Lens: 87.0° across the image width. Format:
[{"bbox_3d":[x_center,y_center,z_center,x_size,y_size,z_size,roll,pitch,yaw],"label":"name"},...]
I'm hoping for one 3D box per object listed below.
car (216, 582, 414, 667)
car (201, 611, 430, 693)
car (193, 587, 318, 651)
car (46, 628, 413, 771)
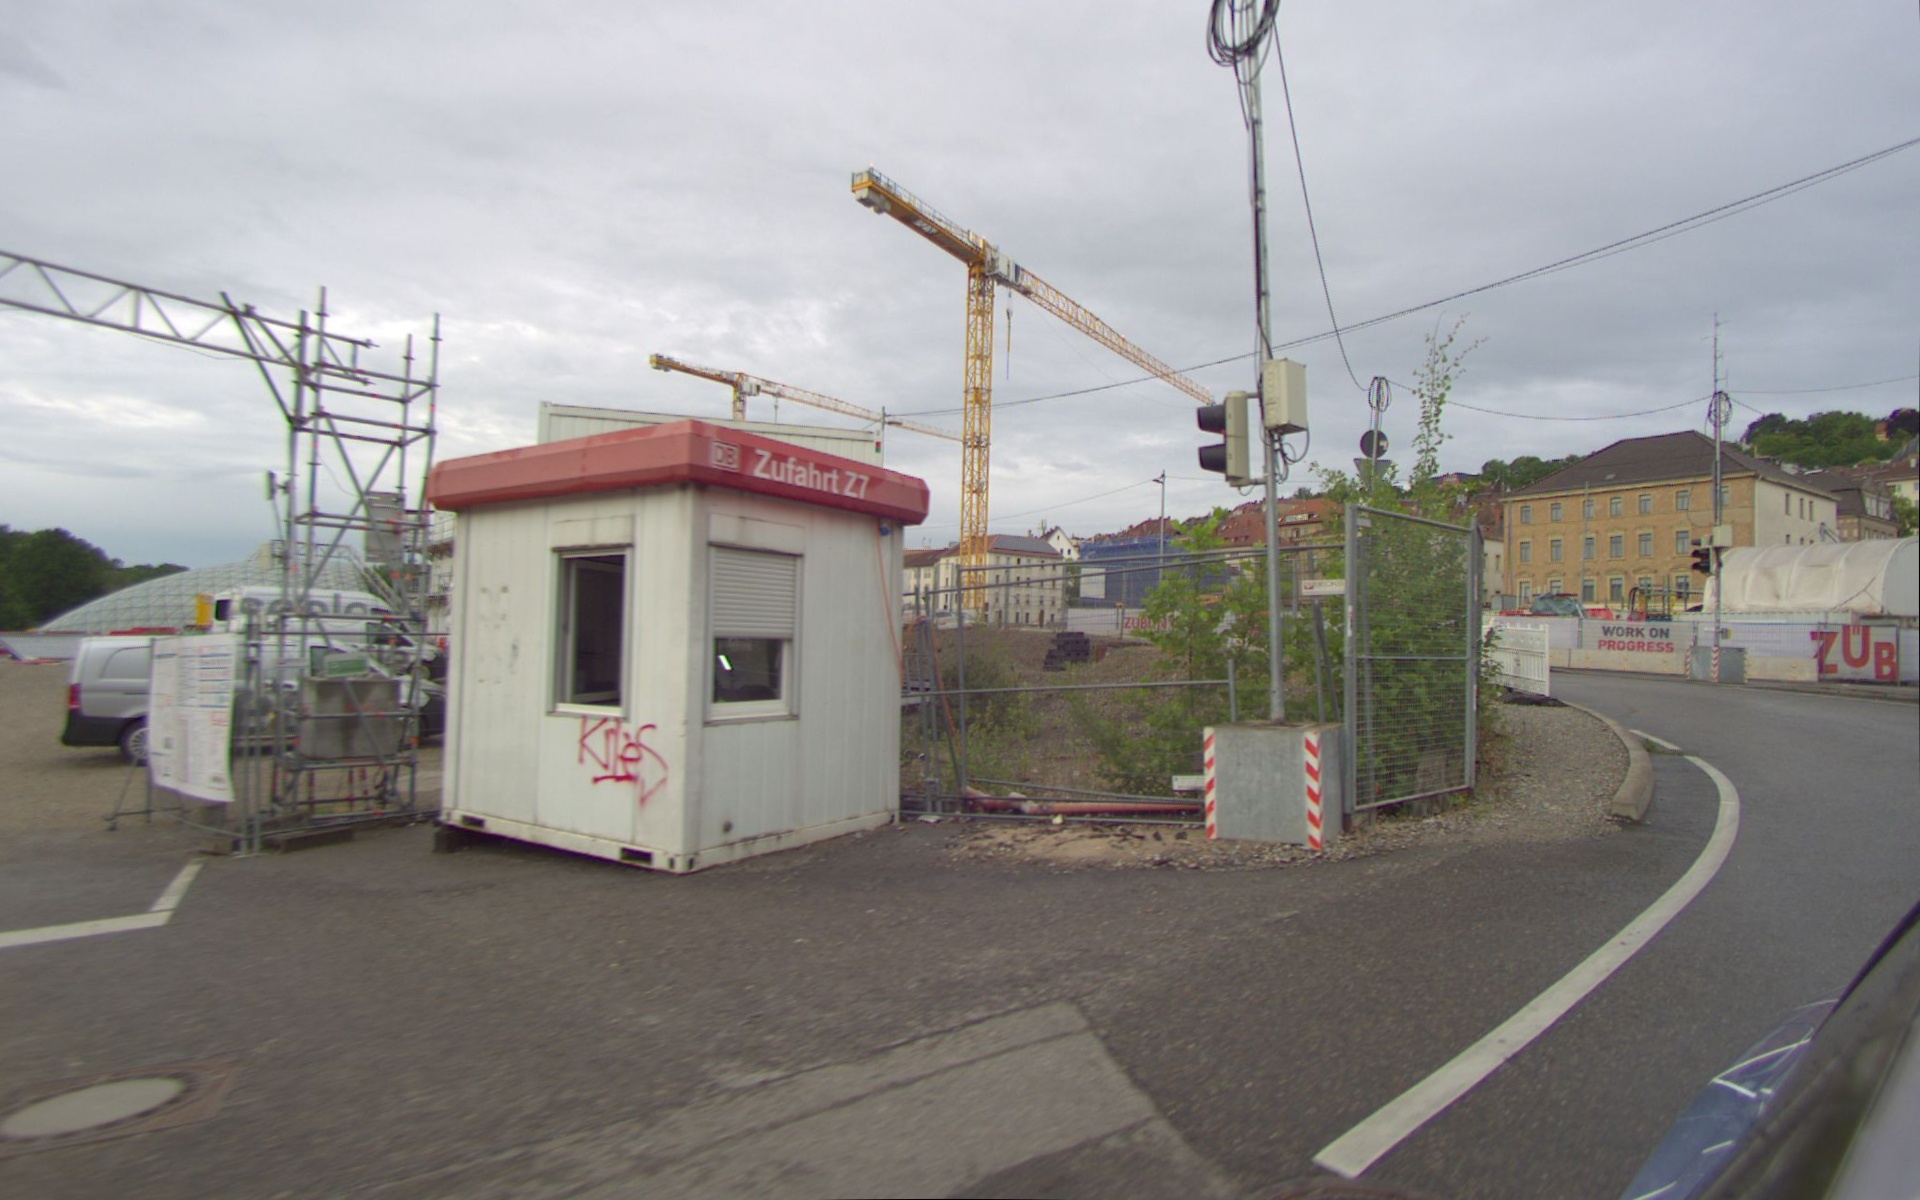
[{"bbox_3d":[-20.117,0.711,31.724,1.994,2.473,4.903,1,0,44],"label":"car"},{"bbox_3d":[-17.271,1.298,27.308,1.994,1.911,4.903,2,1,44],"label":"car"},{"bbox_3d":[-28.212,0.713,40.746,2.109,2.413,4.405,1,0,-3],"label":"car"},{"bbox_3d":[-11.673,1.461,16.457,4.570,1.925,2.017,2,0,-40],"label":"car"}]
